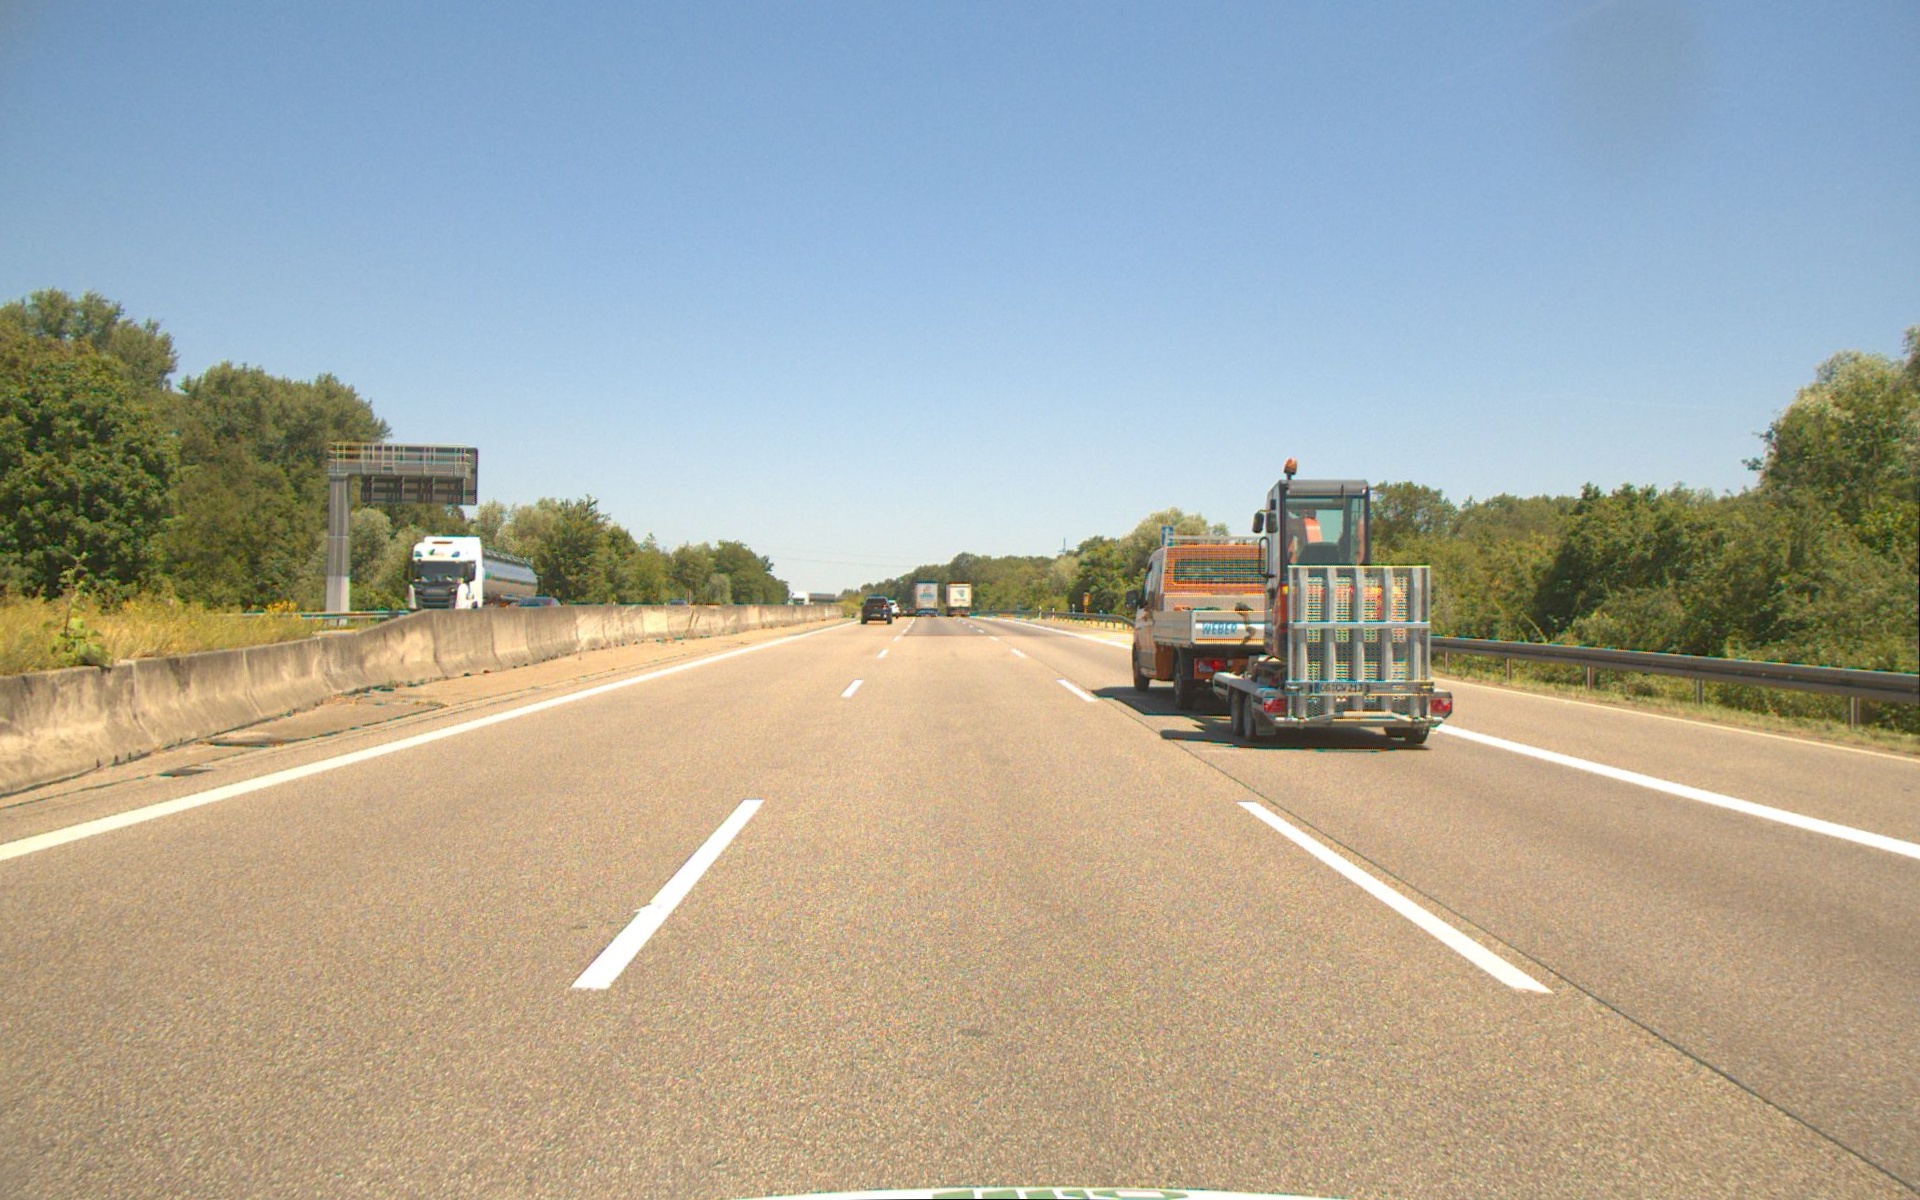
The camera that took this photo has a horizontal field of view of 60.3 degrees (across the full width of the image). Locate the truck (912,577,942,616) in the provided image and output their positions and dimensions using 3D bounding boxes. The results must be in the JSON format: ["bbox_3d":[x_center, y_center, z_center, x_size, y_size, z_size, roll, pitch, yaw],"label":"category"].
[{"bbox_3d":[-3.920,-0.443,194.190,3.165,4.275,8.462,3,0,-2],"label":"truck"}]

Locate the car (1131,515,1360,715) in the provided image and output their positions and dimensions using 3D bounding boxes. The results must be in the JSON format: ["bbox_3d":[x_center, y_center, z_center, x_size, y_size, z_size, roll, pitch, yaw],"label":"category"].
[{"bbox_3d":[3.905,0.192,24.061,1.953,2.447,7.224,1,0,-1],"label":"car"}]

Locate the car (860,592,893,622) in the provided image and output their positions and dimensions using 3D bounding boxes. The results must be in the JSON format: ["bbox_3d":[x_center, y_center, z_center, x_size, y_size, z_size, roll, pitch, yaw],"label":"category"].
[{"bbox_3d":[-5.385,0.439,107.350,1.953,1.907,3.999,1,0,-1],"label":"car"}]

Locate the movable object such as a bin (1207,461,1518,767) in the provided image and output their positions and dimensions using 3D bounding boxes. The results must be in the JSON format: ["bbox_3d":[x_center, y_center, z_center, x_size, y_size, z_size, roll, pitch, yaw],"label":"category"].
[{"bbox_3d":[4.172,0.138,18.051,2.130,2.865,4.760,1,0,-1],"label":"movable object such as a bin"}]

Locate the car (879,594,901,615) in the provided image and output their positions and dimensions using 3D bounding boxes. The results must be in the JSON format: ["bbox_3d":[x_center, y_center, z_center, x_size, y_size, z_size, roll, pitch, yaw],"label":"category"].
[{"bbox_3d":[-6.586,0.411,155.814,1.953,1.907,3.999,1,0,-1],"label":"car"}]

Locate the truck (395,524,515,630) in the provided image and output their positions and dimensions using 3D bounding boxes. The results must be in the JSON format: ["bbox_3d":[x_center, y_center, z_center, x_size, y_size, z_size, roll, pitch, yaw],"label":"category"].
[{"bbox_3d":[-21.524,-0.927,71.024,2.751,4.117,7.727,4,0,-2],"label":"truck"}]

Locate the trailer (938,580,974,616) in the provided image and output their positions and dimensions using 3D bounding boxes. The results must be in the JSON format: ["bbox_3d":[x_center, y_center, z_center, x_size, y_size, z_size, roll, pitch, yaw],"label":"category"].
[{"bbox_3d":[-0.522,-0.260,203.882,3.303,4.214,9.079,4,0,-6],"label":"trailer"}]

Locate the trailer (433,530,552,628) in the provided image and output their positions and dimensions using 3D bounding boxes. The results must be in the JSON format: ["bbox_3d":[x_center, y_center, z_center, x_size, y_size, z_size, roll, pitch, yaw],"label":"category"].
[{"bbox_3d":[-21.788,-0.926,77.739,2.751,4.117,10.426,4,0,-2],"label":"trailer"}]
